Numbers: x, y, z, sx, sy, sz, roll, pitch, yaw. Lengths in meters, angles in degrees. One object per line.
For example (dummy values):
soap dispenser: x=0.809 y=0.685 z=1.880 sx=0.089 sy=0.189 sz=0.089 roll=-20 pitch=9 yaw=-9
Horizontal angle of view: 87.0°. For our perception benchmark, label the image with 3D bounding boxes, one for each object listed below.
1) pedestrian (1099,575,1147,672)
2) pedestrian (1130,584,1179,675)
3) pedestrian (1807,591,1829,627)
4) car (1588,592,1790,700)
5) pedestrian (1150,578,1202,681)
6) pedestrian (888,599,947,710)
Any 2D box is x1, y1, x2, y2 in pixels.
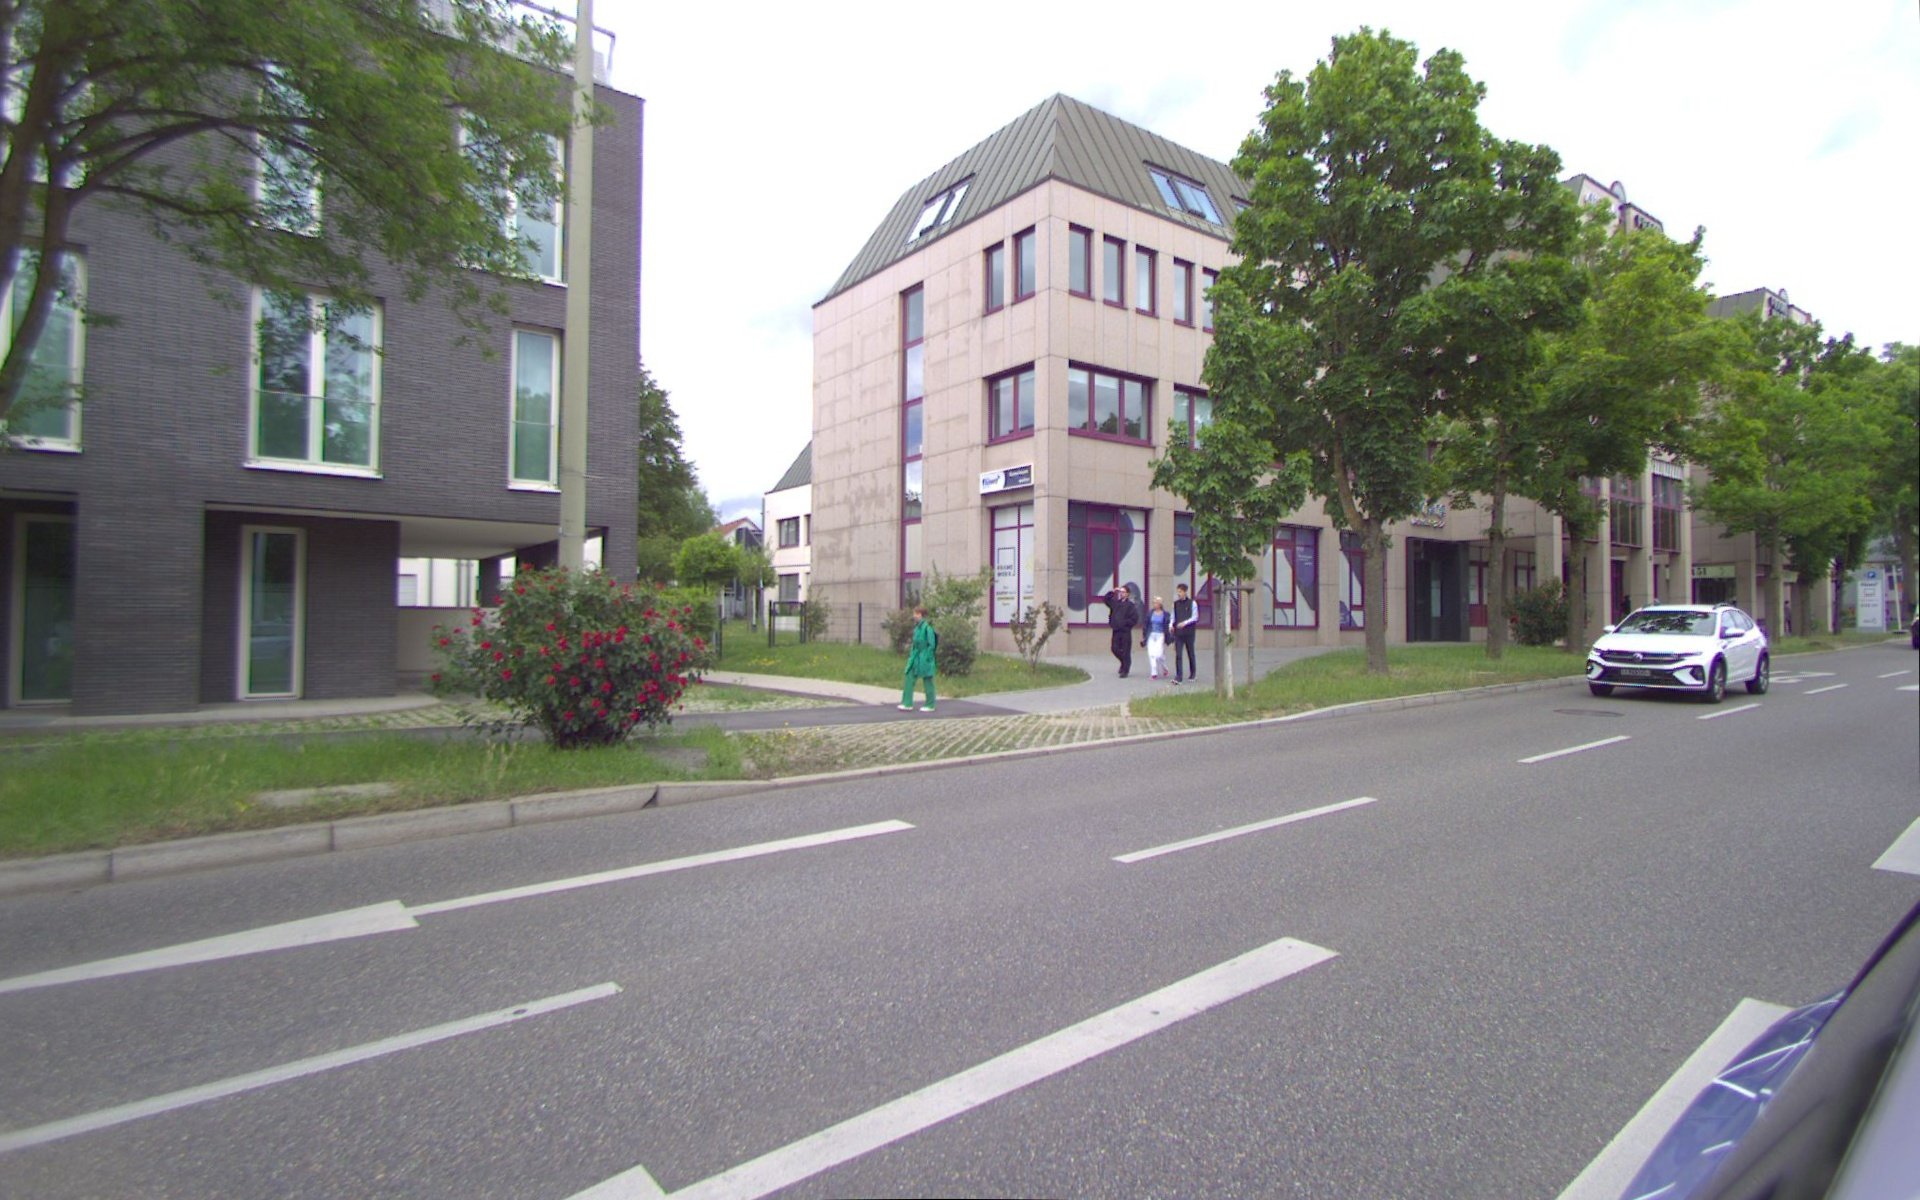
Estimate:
pedestrian: x=3.135 y=0.443 z=19.483 sx=0.665 sy=1.828 sz=0.642 roll=0 pitch=-1 yaw=-41
pedestrian: x=3.660 y=0.543 z=19.051 sx=0.665 sy=1.668 sz=0.642 roll=0 pitch=-1 yaw=-41
pedestrian: x=43.630 y=0.445 z=51.469 sx=0.818 sy=1.769 sz=0.718 roll=0 pitch=0 yaw=-42
car: x=12.143 y=0.664 z=16.773 sx=4.016 sy=1.575 sz=1.720 roll=0 pitch=0 yaw=-39
pedestrian: x=3.931 y=0.521 z=18.438 sx=0.665 sy=1.828 sz=0.642 roll=0 pitch=-1 yaw=-41
pedestrian: x=-0.615 y=0.770 z=14.676 sx=0.665 sy=1.537 sz=0.496 roll=0 pitch=2 yaw=-41
